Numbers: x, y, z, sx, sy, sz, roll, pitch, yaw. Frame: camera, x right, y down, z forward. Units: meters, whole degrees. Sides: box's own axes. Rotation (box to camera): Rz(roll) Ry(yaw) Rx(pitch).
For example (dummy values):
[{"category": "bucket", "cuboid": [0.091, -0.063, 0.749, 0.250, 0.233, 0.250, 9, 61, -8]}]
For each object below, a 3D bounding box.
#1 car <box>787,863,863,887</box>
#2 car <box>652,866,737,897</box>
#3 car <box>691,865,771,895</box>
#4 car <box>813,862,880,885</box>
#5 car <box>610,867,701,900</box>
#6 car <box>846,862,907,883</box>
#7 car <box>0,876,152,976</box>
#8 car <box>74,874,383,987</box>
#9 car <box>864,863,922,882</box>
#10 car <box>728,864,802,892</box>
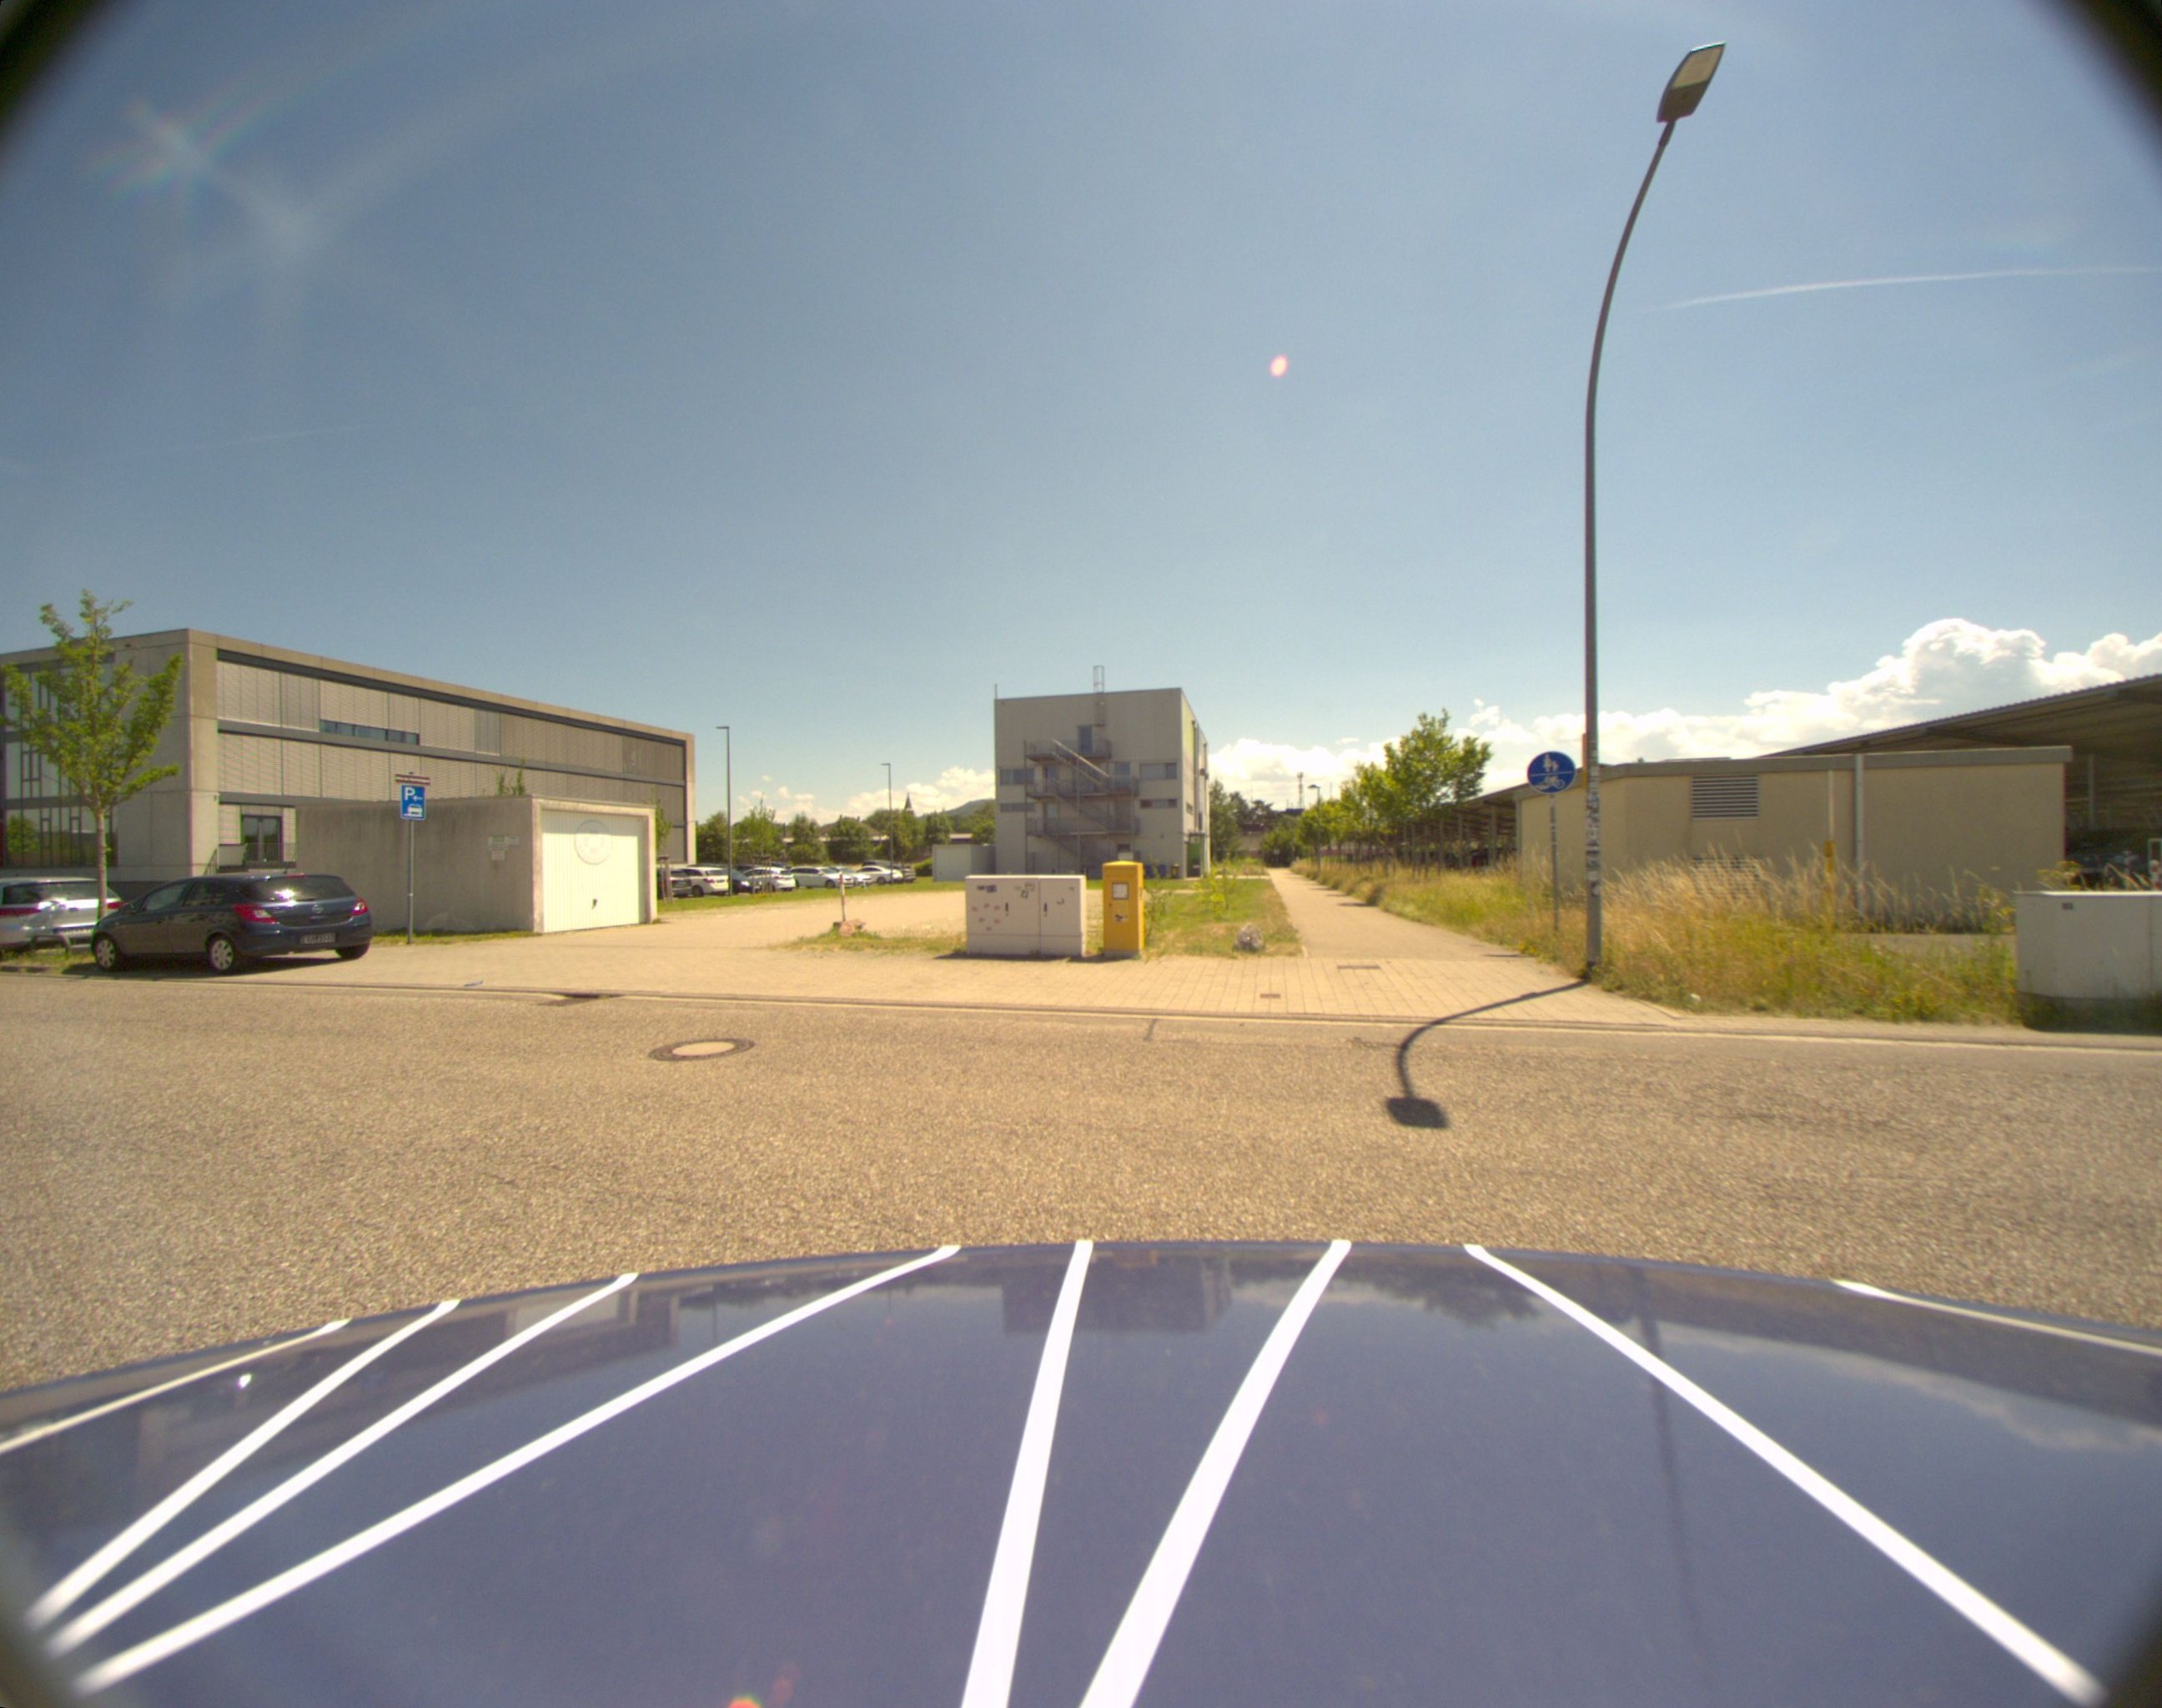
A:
[{"category": "car", "cuboid": [-16.605, 1.366, 49.313, 4.363, 1.458, 1.711, -1, 1, 15]}, {"category": "car", "cuboid": [-19.765, 1.396, 38.909, 3.621, 1.492, 1.660, -1, 1, 15]}, {"category": "car", "cuboid": [-18.884, 1.412, 41.036, 3.621, 1.526, 1.660, -1, 1, 15]}, {"category": "car", "cuboid": [-15.948, 1.350, 51.734, 4.049, 1.458, 1.660, -1, 1, 15]}, {"category": "car", "cuboid": [-20.335, 1.405, 36.363, 3.621, 1.492, 1.660, -1, 1, 15]}, {"category": "car", "cuboid": [-15.207, 1.365, 56.495, 4.049, 1.417, 1.660, -1, 1, 15]}, {"category": "car", "cuboid": [-18.820, 1.210, 13.345, 3.622, 1.492, 1.660, -1, 3, 13]}, {"category": "car", "cuboid": [-13.348, 1.135, 11.971, 3.621, 1.492, 1.685, -1, 3, 15]}, {"category": "car", "cuboid": [-14.808, 1.419, 59.830, 4.049, 1.379, 1.660, -1, 1, 15]}, {"category": "car", "cuboid": [-18.262, 1.379, 43.915, 3.621, 1.492, 1.660, -1, 1, 15]}]
